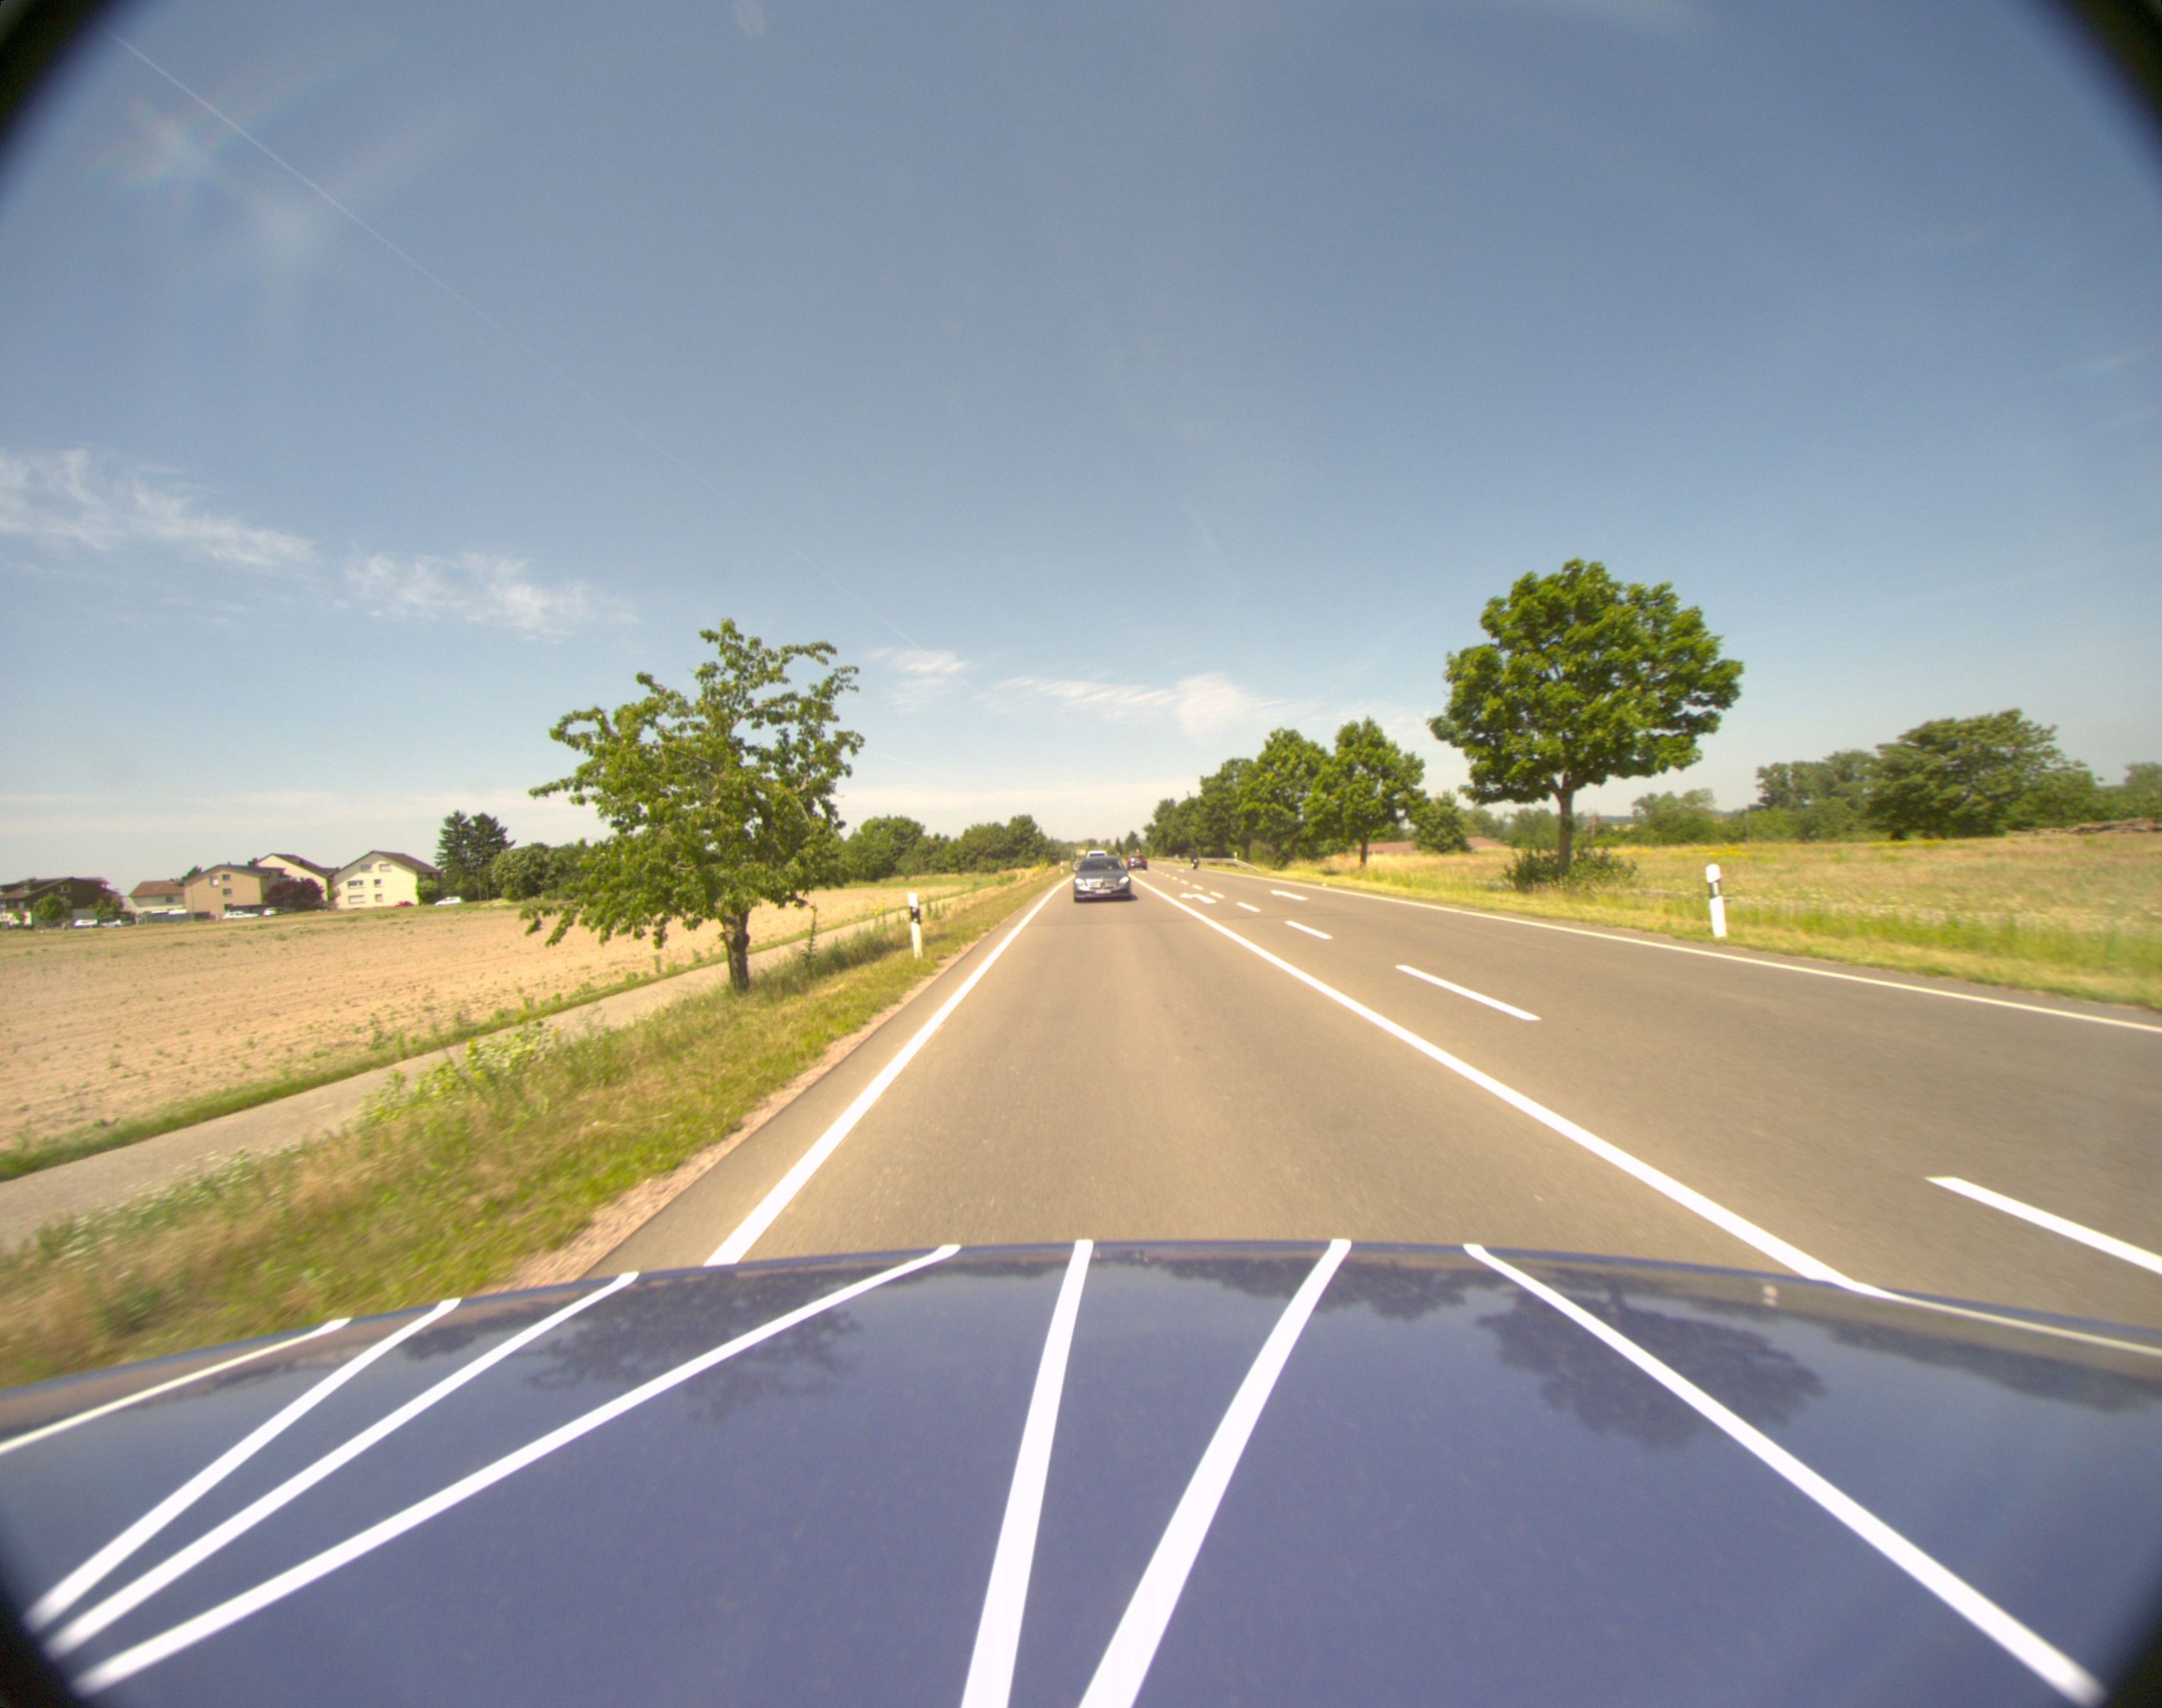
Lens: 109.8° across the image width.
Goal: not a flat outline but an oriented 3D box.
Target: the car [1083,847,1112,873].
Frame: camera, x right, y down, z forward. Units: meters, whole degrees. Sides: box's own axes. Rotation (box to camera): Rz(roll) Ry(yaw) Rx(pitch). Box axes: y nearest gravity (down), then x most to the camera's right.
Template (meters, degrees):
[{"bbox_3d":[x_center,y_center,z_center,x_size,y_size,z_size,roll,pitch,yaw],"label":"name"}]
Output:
[{"bbox_3d":[1.484,0.500,65.753,2.179,2.002,5.026,-6,0,2],"label":"car"}]

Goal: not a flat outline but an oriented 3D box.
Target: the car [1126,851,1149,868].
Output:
[{"bbox_3d":[5.208,0.501,70.809,1.744,1.465,4.618,-2,0,0],"label":"car"}]

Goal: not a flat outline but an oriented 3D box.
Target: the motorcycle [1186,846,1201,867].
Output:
[{"bbox_3d":[9.670,0.219,65.469,0.890,1.733,2.445,-2,0,2],"label":"motorcycle"}]

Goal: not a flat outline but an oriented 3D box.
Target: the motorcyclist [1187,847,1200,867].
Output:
[{"bbox_3d":[9.668,0.229,65.345,0.855,1.711,1.088,-2,1,0],"label":"motorcyclist"}]

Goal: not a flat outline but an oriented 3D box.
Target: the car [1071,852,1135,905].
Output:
[{"bbox_3d":[0.852,0.775,25.910,1.831,1.540,4.500,-4,0,5],"label":"car"}]
